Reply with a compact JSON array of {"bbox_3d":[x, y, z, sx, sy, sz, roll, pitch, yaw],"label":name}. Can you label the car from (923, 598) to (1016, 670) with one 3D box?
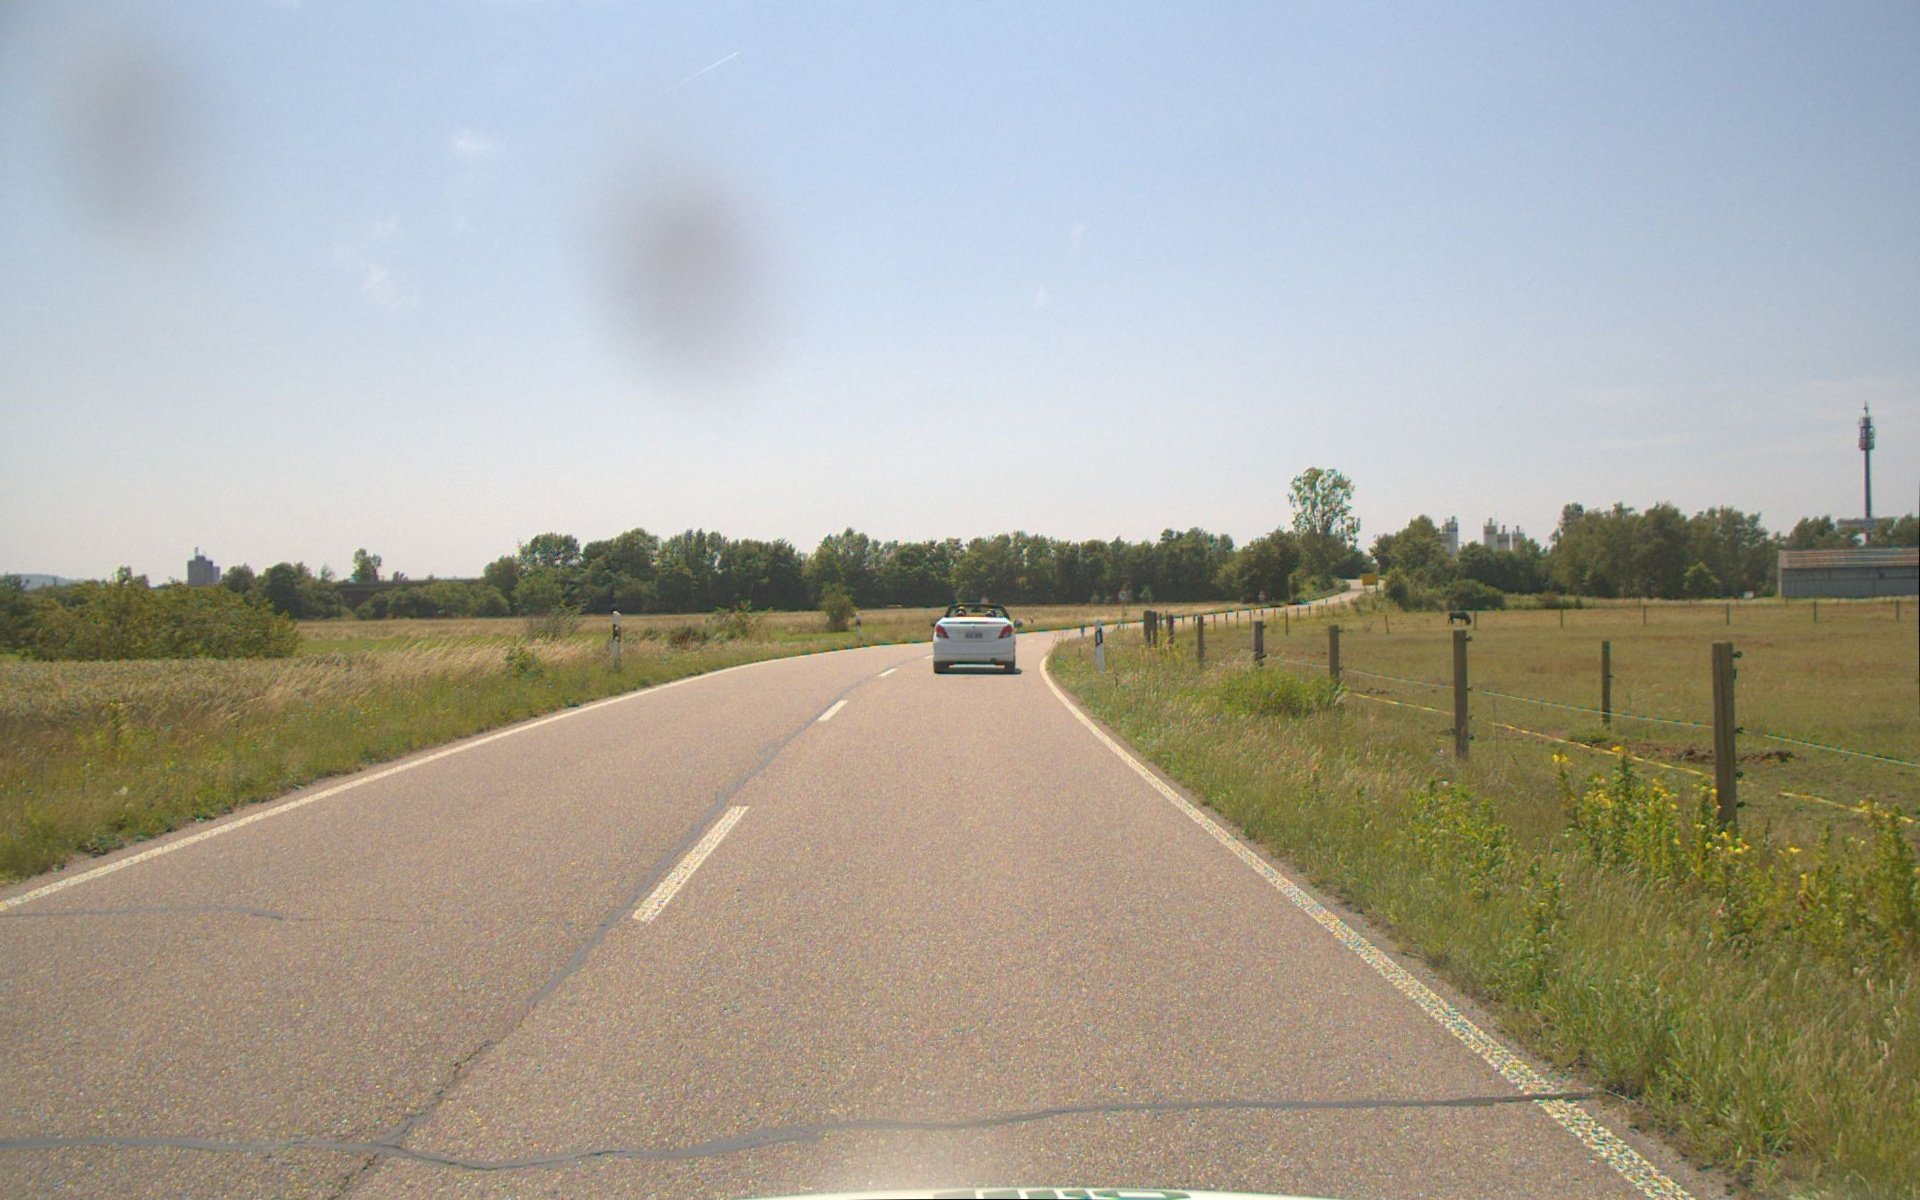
[{"bbox_3d":[0.226,0.674,34.565,1.812,1.403,4.000,1,0,1],"label":"car"}]
